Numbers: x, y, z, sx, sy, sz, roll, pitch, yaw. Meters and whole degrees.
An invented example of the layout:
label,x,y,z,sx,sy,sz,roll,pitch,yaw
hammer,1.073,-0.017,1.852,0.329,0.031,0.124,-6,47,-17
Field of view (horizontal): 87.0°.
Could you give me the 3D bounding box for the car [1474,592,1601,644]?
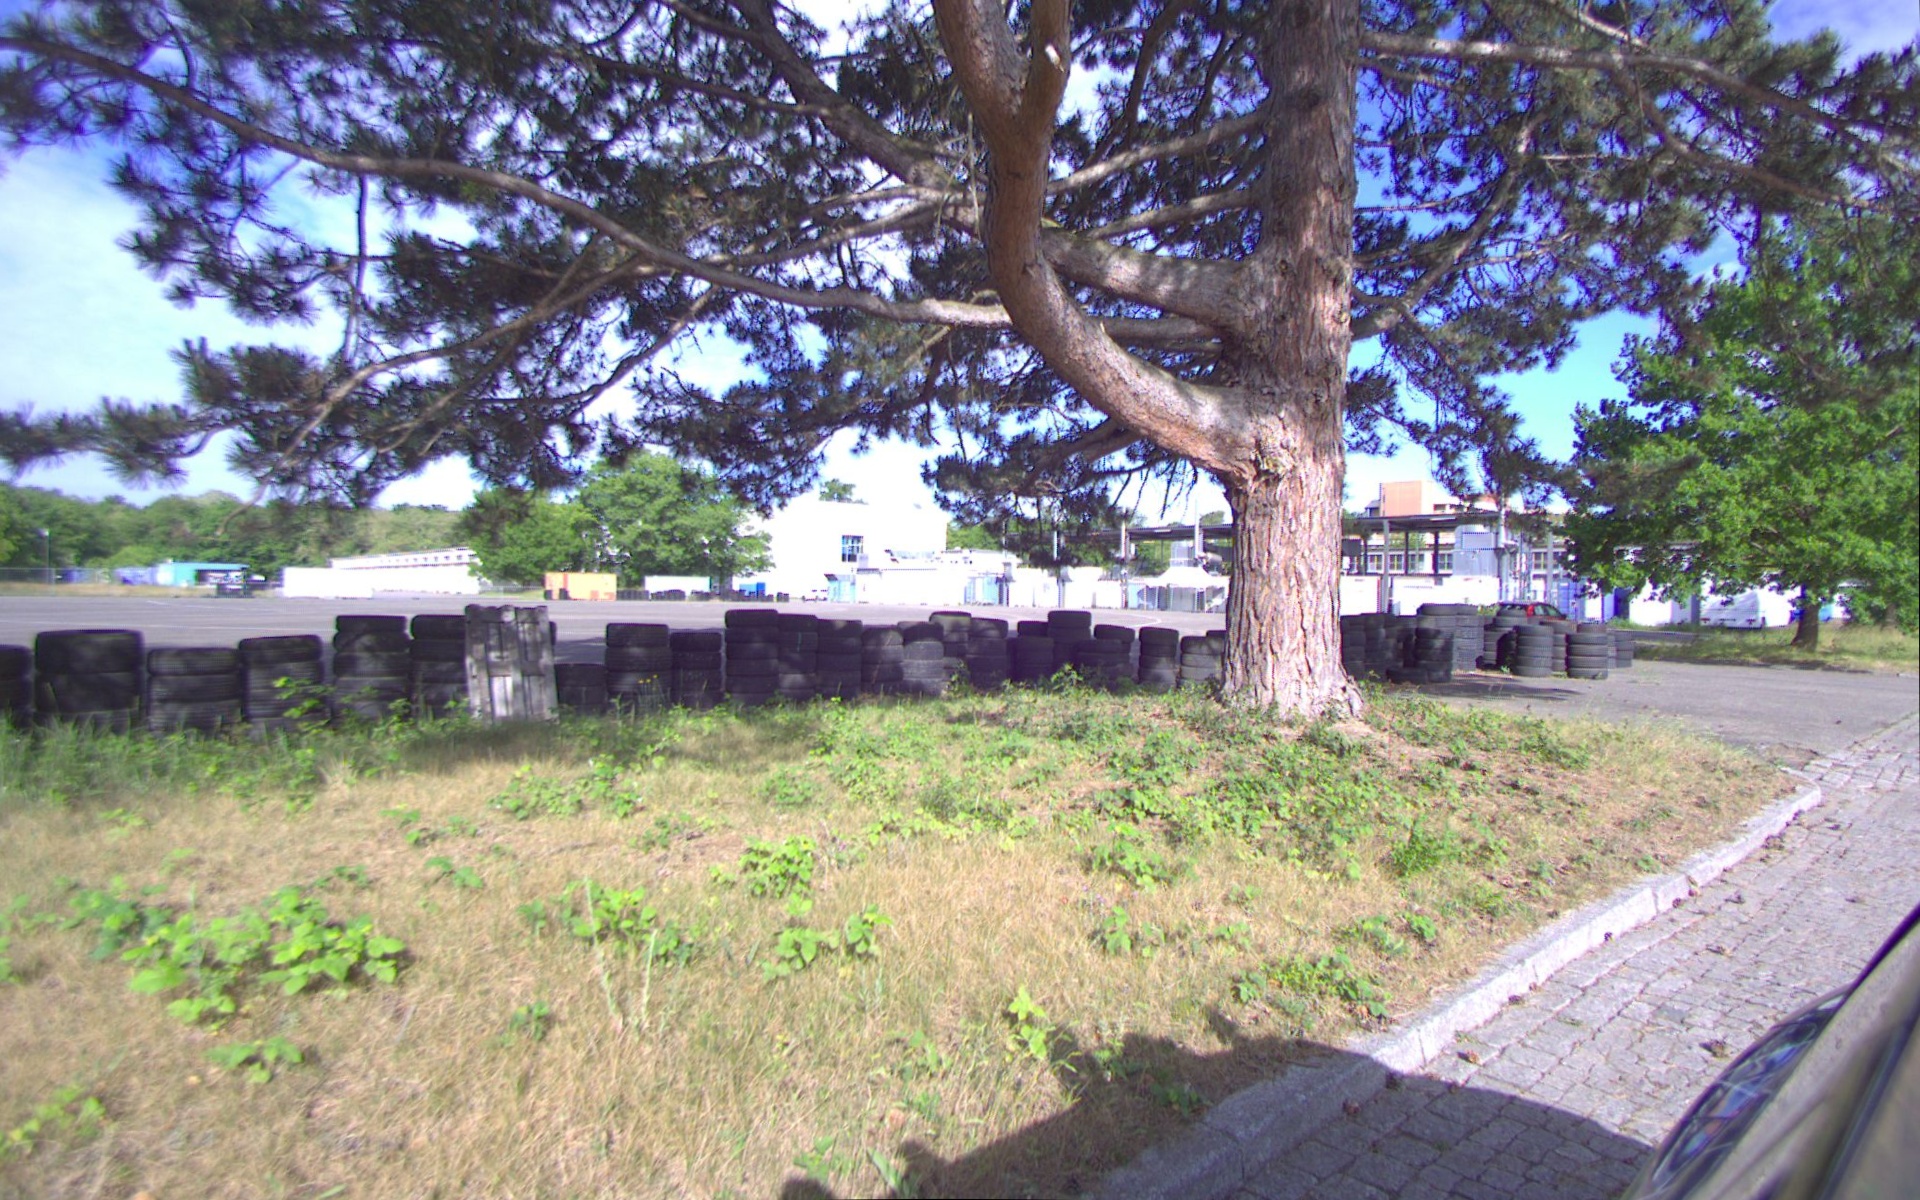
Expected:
label,x,y,z,sx,sy,sz,roll,pitch,yaw
car,17.594,0.509,30.794,3.924,1.467,1.849,1,1,-35
